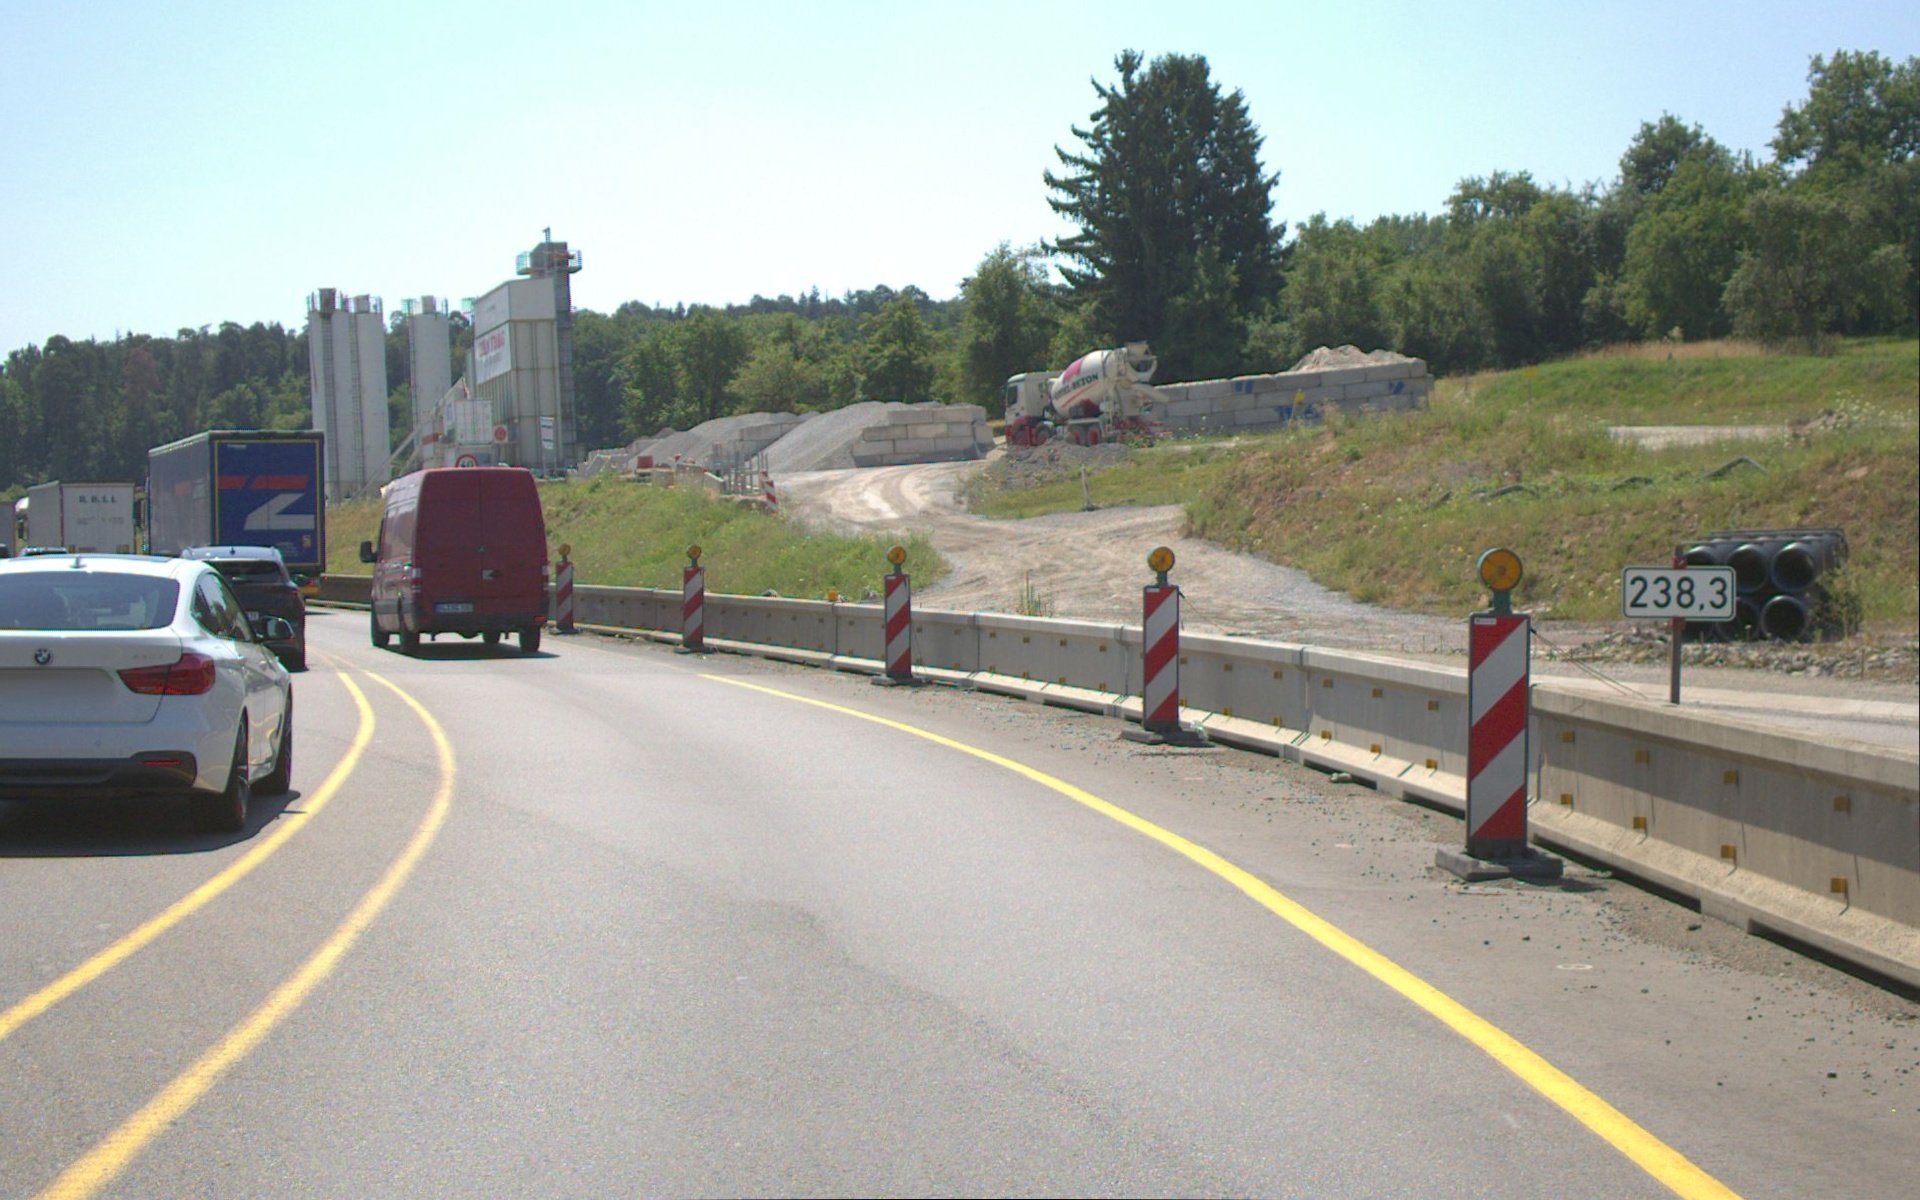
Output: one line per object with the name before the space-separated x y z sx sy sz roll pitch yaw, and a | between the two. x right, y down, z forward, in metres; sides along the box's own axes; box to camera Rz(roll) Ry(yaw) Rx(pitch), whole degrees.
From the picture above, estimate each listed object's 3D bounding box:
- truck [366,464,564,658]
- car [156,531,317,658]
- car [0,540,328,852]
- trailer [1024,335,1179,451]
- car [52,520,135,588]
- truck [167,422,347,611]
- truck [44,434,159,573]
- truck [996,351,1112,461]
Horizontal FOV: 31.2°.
truck | -7.409 -0.605 50.879 2.111 2.624 6.486 -2 1 -15
car | -9.458 -0.114 45.163 1.794 1.529 3.932 -2 1 -9
car | -4.815 0.440 19.812 1.795 1.529 5.074 0 1 -5
trailer | 5.334 -7.834 130.760 2.756 4.100 6.746 -3 2 -28
car | -21.145 -1.133 83.809 1.801 1.574 4.001 -2 2 -16
truck | -16.637 -1.947 80.932 3.015 4.138 8.275 -2 2 -19
truck | -30.736 -3.409 122.950 3.682 4.675 9.755 -2 1 -14
truck | 3.646 -7.534 133.987 2.745 4.081 4.101 -3 2 -28
